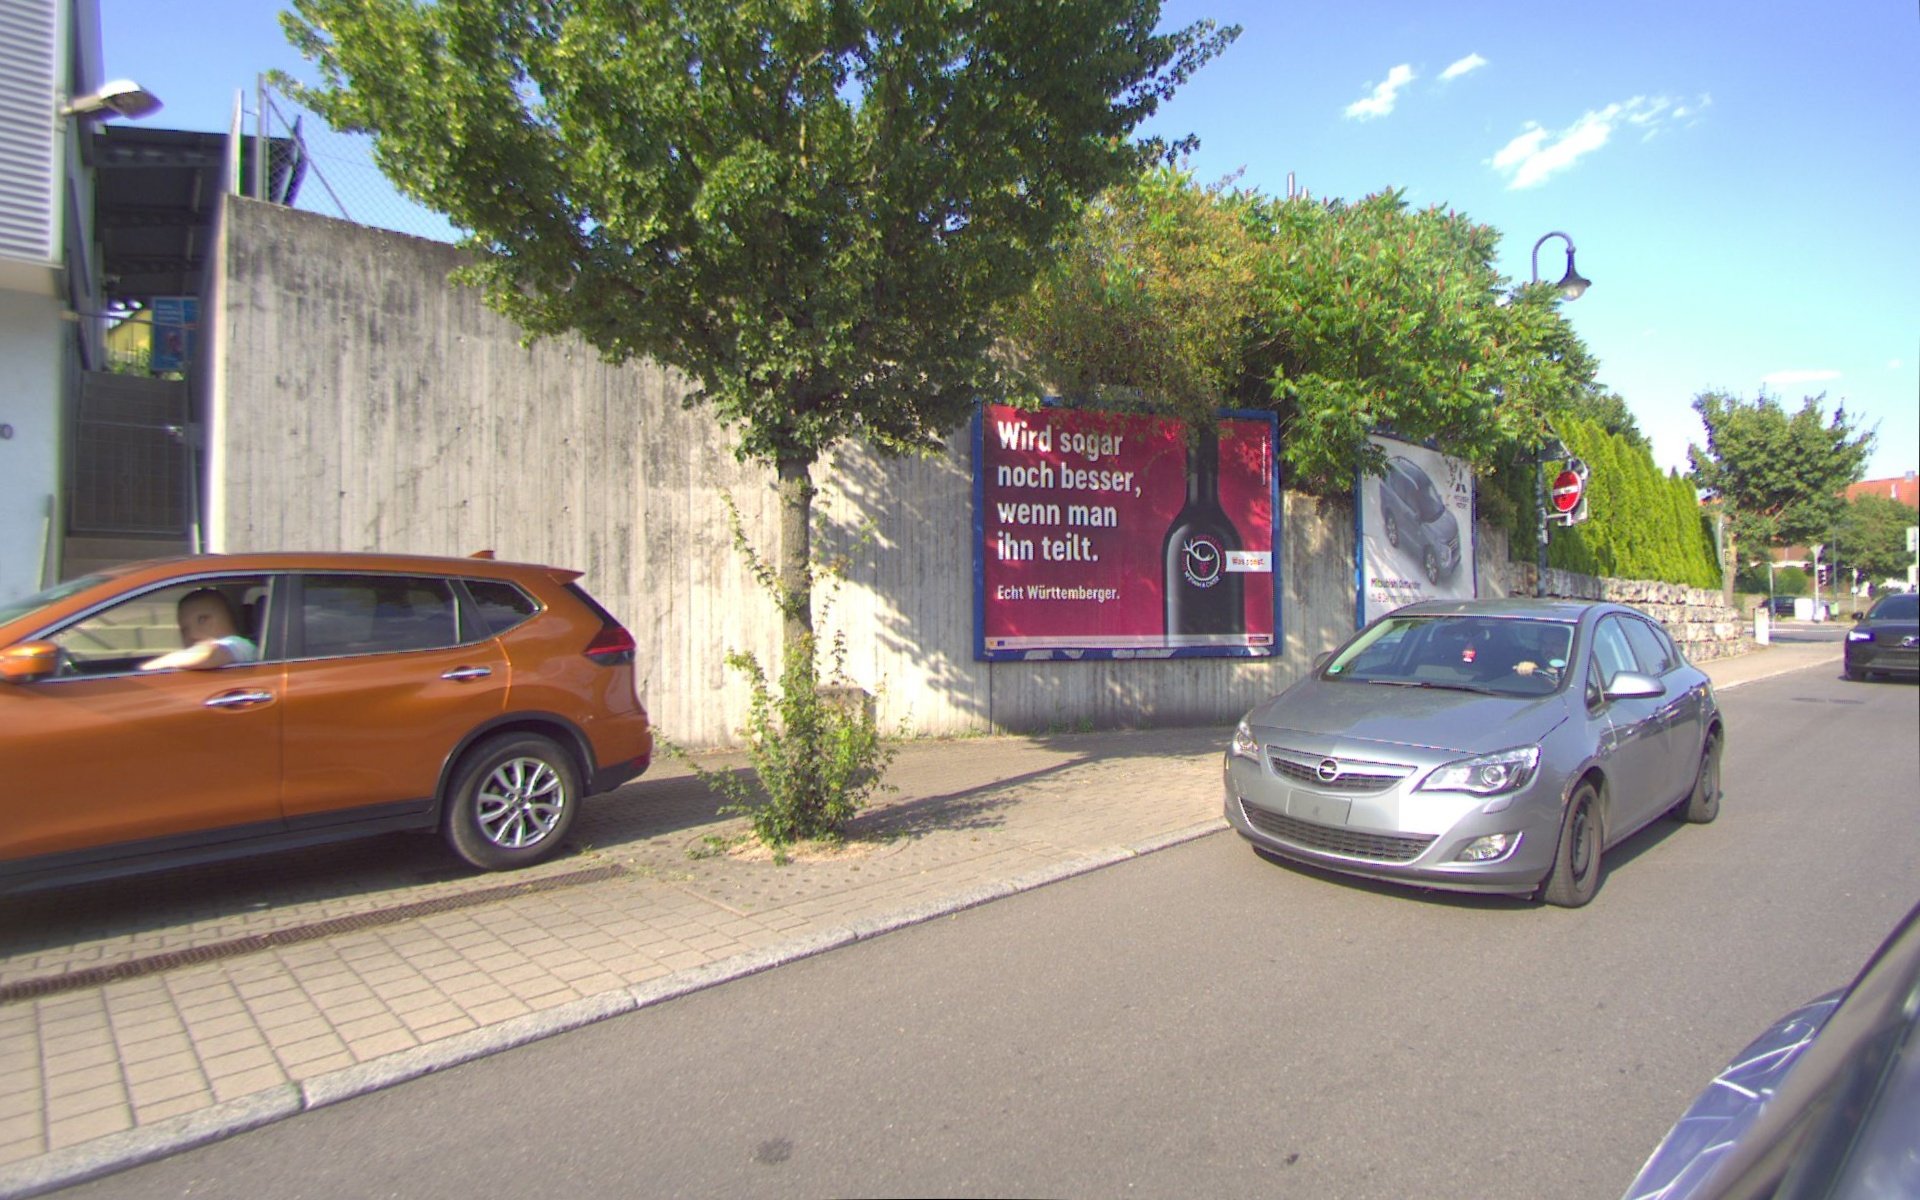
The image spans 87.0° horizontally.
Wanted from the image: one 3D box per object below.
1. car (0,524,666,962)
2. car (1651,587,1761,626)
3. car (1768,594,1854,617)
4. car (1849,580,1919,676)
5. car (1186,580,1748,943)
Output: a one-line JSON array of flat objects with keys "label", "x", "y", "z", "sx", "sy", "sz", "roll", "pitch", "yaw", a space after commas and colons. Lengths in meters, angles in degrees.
[{"label": "car", "x": -3.911, "y": 0.546, "z": 4.955, "sx": 1.834, "sy": 1.670, "sz": 4.468, "roll": 0, "pitch": 0, "yaw": 43}, {"label": "car", "x": 34.547, "y": 0.282, "z": 46.929, "sx": 1.570, "sy": 1.561, "sz": 3.796, "roll": 0, "pitch": 3, "yaw": -40}, {"label": "car", "x": 56.943, "y": 0.377, "z": 67.804, "sx": 1.644, "sy": 1.475, "sz": 4.086, "roll": 1, "pitch": 0, "yaw": -25}, {"label": "car", "x": 17.773, "y": 0.495, "z": 18.336, "sx": 3.982, "sy": 1.626, "sz": 1.792, "roll": 1, "pitch": 0, "yaw": -38}, {"label": "car", "x": 3.246, "y": 0.651, "z": 6.058, "sx": 4.072, "sy": 1.440, "sz": 1.650, "roll": 1, "pitch": 1, "yaw": -42}]
